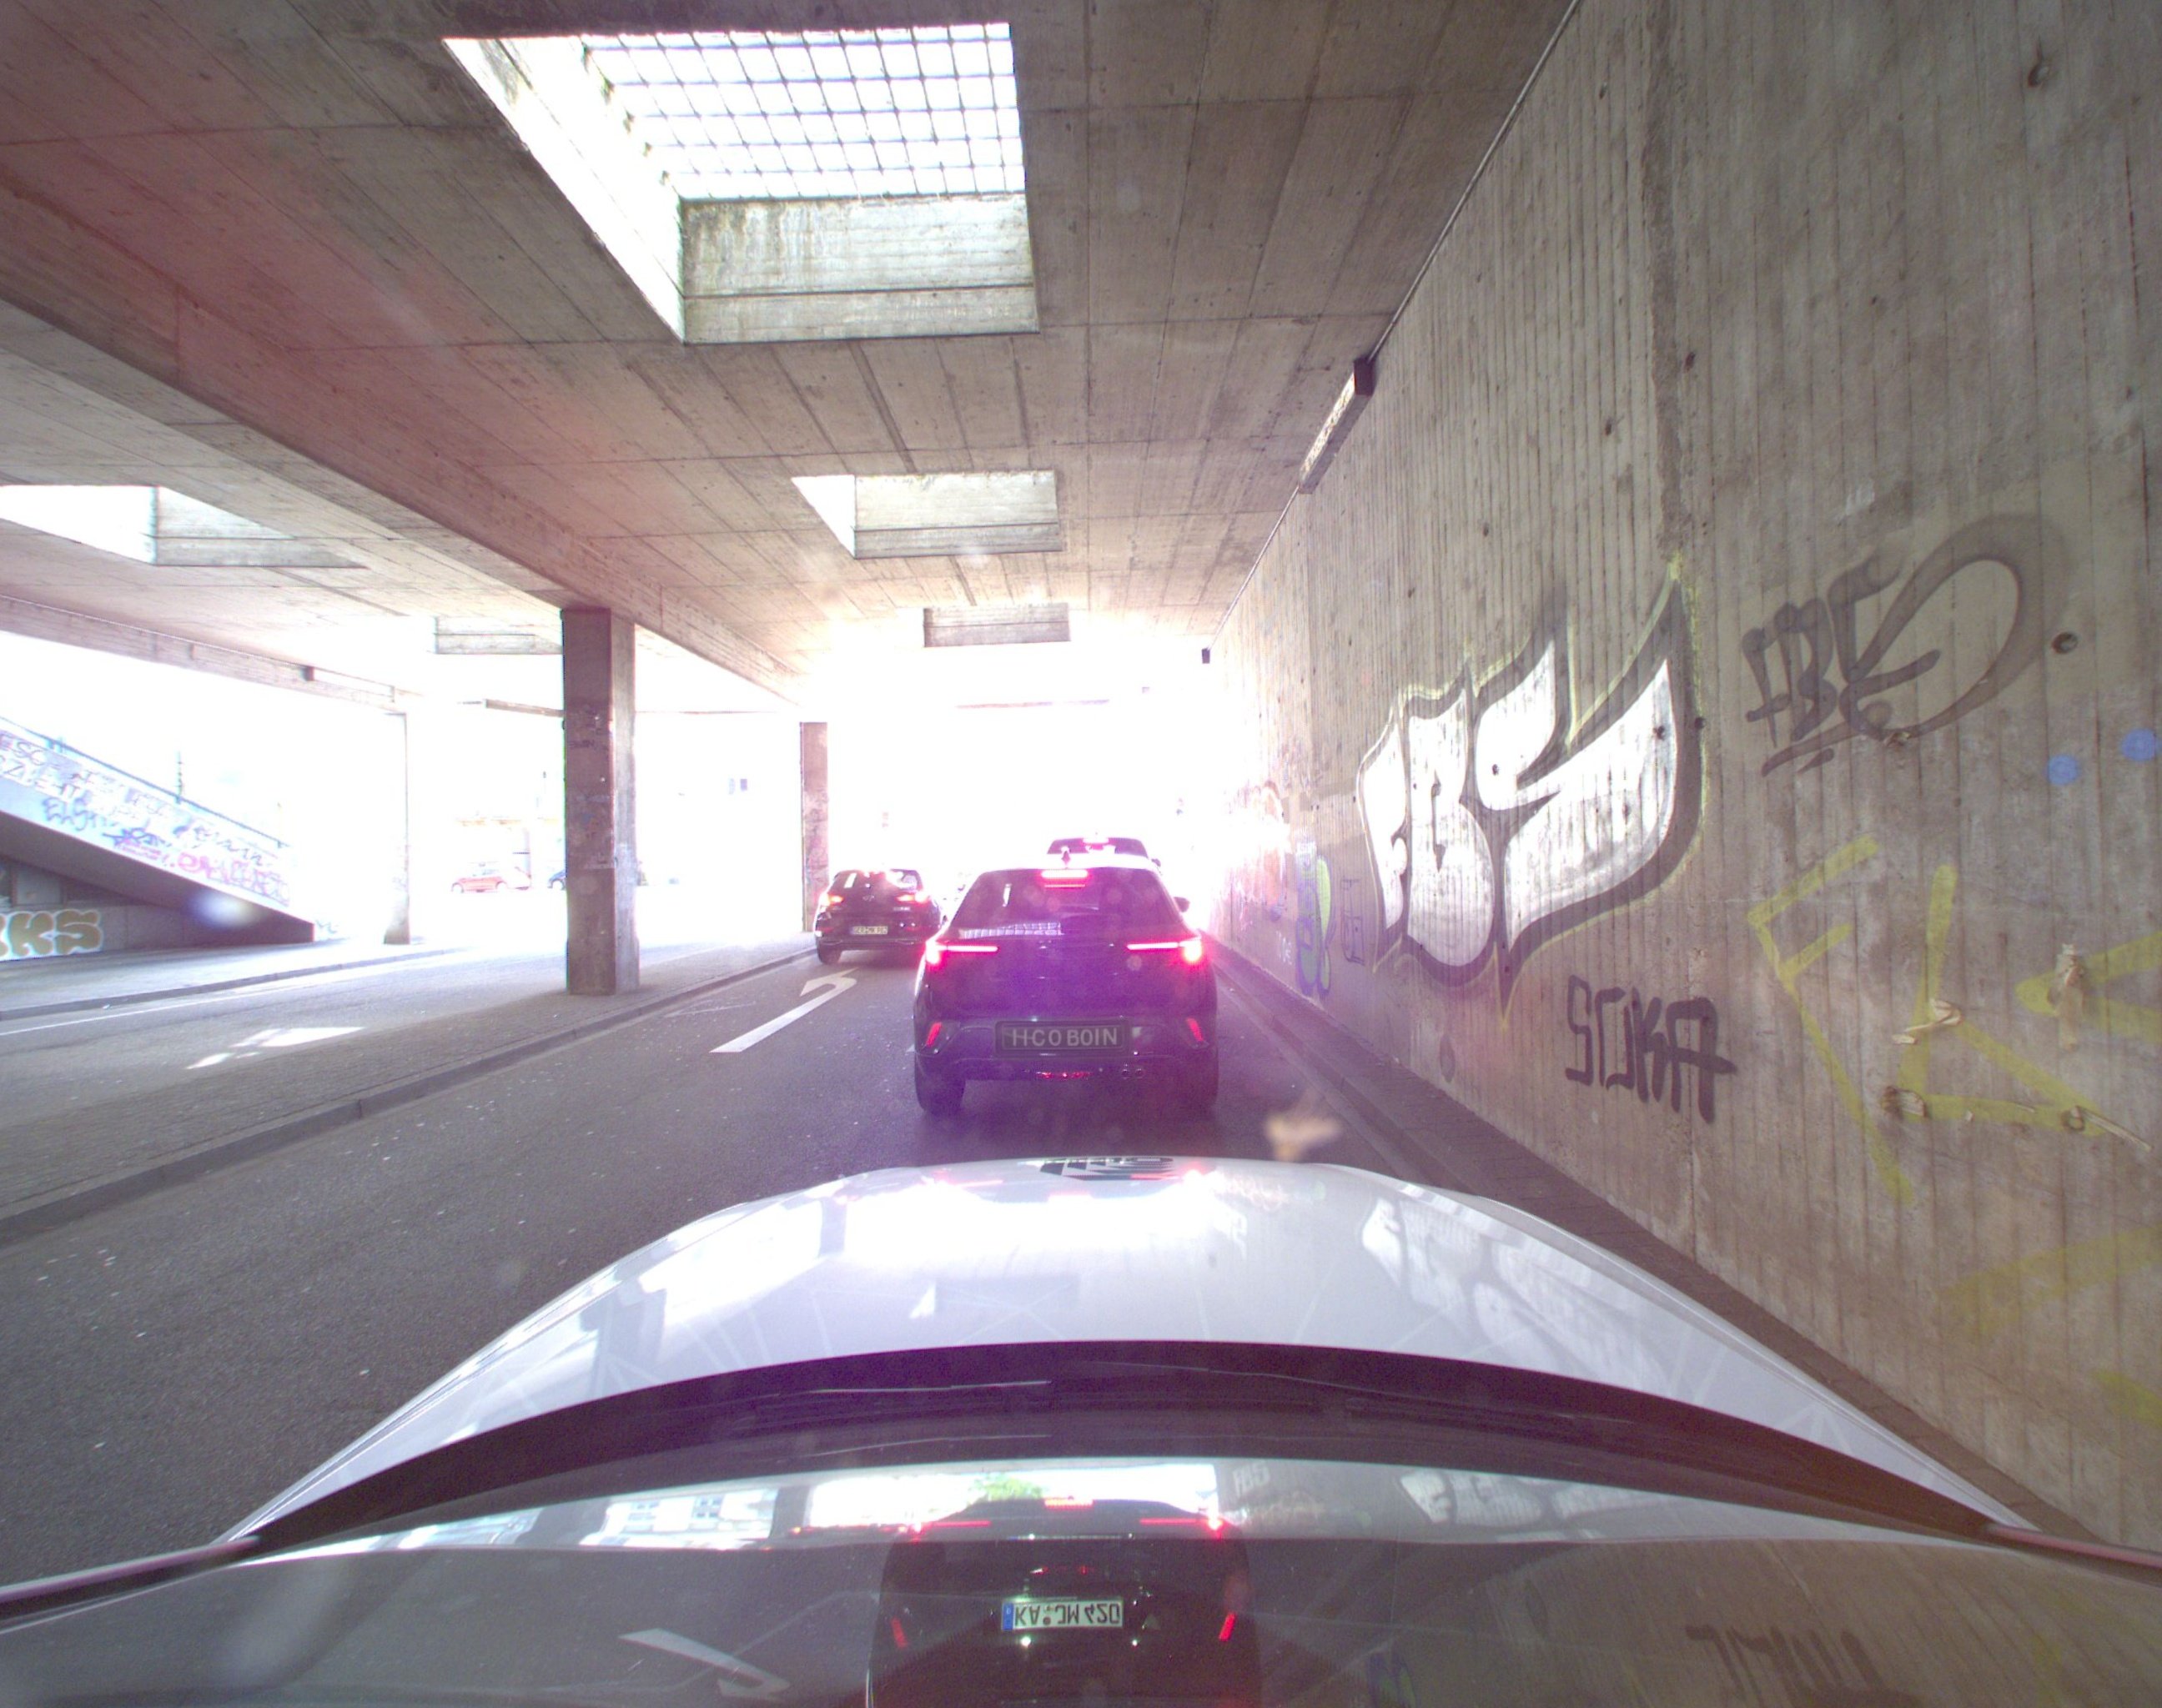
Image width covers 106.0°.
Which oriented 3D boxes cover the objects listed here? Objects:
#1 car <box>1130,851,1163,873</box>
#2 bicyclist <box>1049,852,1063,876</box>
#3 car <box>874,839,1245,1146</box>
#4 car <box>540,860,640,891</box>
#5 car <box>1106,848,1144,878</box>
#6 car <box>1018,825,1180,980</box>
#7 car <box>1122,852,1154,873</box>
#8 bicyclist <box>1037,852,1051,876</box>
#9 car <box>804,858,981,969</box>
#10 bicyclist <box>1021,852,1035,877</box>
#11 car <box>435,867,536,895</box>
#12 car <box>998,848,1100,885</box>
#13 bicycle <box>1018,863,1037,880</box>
[{"bbox_3d":[5.588,0.697,69.039,2.206,1.719,4.474,-2,-2,12],"label":"car"},{"bbox_3d":[-1.586,0.644,52.272,0.724,1.581,0.817,-1,-1,11],"label":"bicyclist"},{"bbox_3d":[-0.048,0.715,6.190,1.875,1.538,3.966,-2,0,2],"label":"car"},{"bbox_3d":[-27.208,1.176,45.243,4.114,1.550,2.268,-1,0,1],"label":"car"},{"bbox_3d":[2.408,0.509,44.269,1.959,1.497,3.900,-2,-2,4],"label":"car"},{"bbox_3d":[0.284,0.599,12.011,1.938,1.860,3.966,-2,0,2],"label":"car"},{"bbox_3d":[4.406,0.651,62.254,1.955,1.497,3.908,-2,-2,11],"label":"car"},{"bbox_3d":[-2.485,0.674,54.600,0.724,1.581,0.817,-1,-1,11],"label":"bicyclist"},{"bbox_3d":[-2.769,0.798,12.924,1.773,1.447,4.178,0,0,1],"label":"car"},{"bbox_3d":[-3.378,0.653,51.781,0.724,1.581,0.817,-1,-1,11],"label":"bicyclist"},{"bbox_3d":[-33.012,1.463,45.242,3.970,1.374,2.192,-1,0,3],"label":"car"},{"bbox_3d":[-1.414,0.568,37.090,4.362,1.552,1.886,-1,0,6],"label":"car"},{"bbox_3d":[-3.388,1.110,51.746,0.727,1.067,1.694,-1,-1,11],"label":"bicycle"}]
